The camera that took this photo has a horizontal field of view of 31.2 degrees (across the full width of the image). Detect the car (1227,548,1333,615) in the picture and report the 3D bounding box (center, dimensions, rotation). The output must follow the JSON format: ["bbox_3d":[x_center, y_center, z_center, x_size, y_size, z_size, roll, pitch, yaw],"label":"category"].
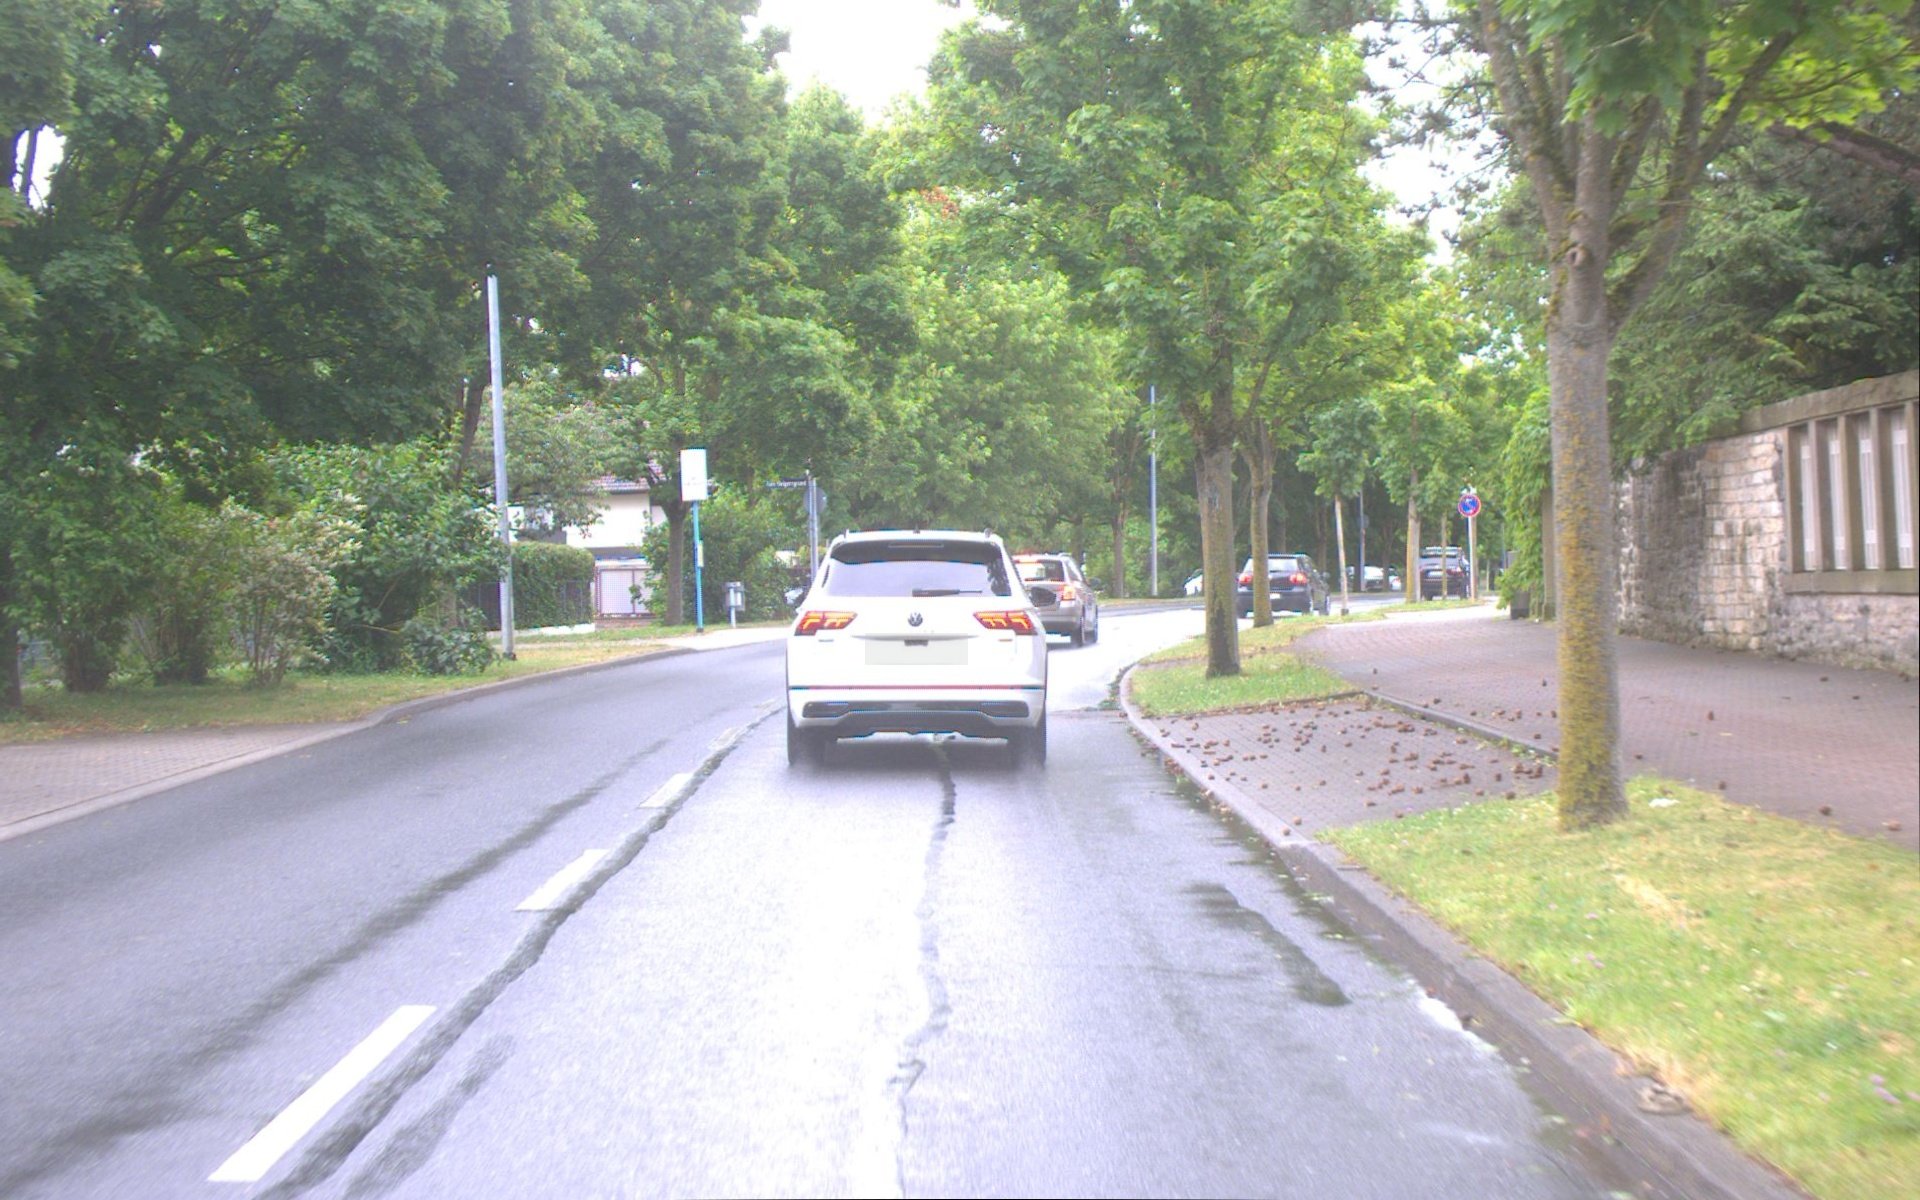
[{"bbox_3d":[7.377,-0.446,78.901,1.842,1.482,3.998,1,1,14],"label":"car"}]

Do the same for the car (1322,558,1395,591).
[{"bbox_3d":[18.975,-1.211,163.894,1.841,1.477,4.001,-2,0,-20],"label":"car"}]

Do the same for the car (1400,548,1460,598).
[{"bbox_3d":[15.436,-0.880,112.813,1.841,1.482,3.999,-3,0,9],"label":"car"}]

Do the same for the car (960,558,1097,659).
[{"bbox_3d":[1.139,0.126,55.539,1.841,1.482,3.999,-3,0,6],"label":"car"}]

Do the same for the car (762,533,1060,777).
[{"bbox_3d":[-0.387,0.350,25.066,1.996,1.626,4.000,0,1,-2],"label":"car"}]

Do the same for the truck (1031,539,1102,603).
[{"bbox_3d":[4.526,-1.227,145.271,2.285,2.588,5.872,-2,0,8],"label":"truck"}]
